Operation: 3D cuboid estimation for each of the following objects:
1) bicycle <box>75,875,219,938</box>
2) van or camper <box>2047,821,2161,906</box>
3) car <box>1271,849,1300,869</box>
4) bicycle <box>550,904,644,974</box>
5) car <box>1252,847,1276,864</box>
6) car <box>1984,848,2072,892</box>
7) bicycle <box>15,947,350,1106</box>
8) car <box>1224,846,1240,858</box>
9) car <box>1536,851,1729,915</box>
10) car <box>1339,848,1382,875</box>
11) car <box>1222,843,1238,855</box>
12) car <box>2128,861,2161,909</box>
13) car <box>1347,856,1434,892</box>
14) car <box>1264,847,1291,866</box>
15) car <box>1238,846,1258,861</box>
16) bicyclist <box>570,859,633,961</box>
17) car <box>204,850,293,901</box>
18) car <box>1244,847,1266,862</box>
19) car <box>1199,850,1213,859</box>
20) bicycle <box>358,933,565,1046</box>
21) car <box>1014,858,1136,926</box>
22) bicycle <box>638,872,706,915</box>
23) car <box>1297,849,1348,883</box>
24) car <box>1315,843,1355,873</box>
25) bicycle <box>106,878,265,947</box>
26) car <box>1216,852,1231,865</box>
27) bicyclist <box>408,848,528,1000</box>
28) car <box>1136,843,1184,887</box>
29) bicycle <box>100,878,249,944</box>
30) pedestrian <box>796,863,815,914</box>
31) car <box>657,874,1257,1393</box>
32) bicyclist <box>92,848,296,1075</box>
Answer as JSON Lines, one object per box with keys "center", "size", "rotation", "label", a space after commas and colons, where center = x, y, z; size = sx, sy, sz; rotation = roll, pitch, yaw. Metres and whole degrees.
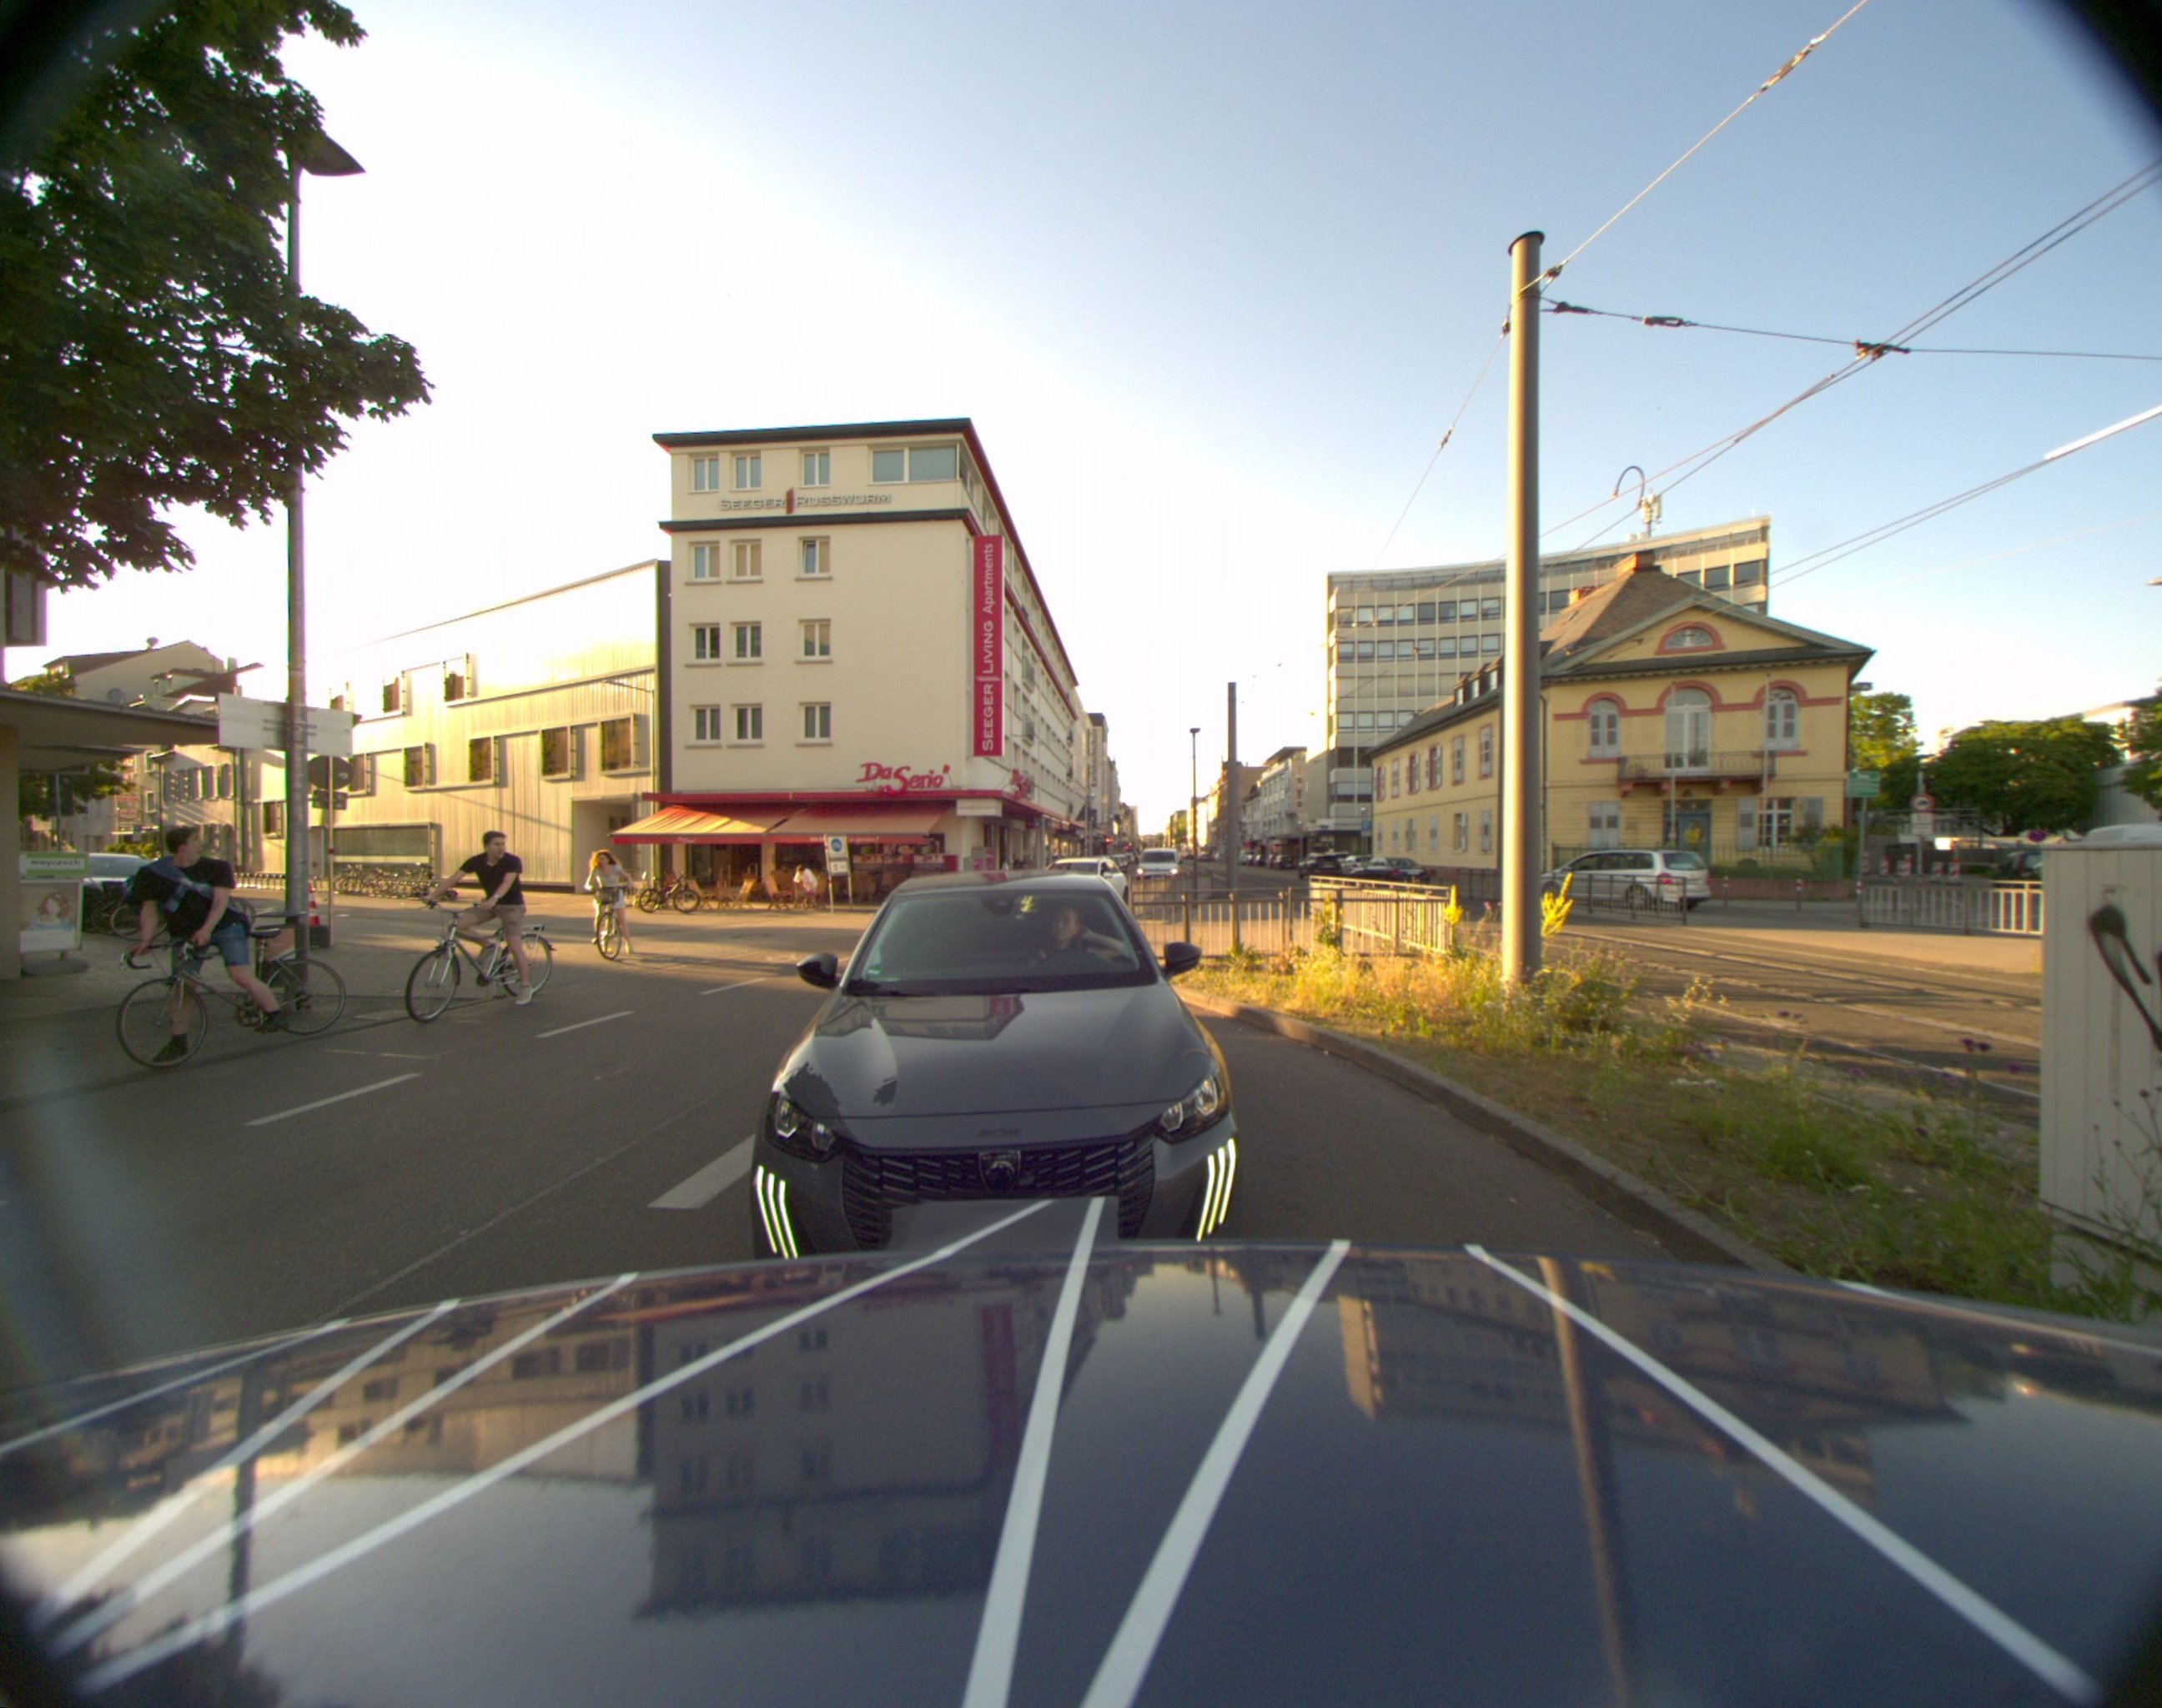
{"center": [-18.408, 1.013, 15.029], "size": [0.484, 1.179, 1.690], "rotation": [0, -2, 22], "label": "bicycle"}
{"center": [36.920, 0.321, 26.914], "size": [2.077, 2.758, 6.464], "rotation": [1, 1, 41], "label": "van or camper"}
{"center": [20.231, 0.446, 75.309], "size": [1.998, 1.890, 4.000], "rotation": [0, 0, 2], "label": "car"}
{"center": [-7.206, 1.238, 11.400], "size": [0.600, 0.820, 1.738], "rotation": [0, 1, -12], "label": "bicycle"}
{"center": [21.653, 0.146, 89.852], "size": [1.998, 1.936, 4.000], "rotation": [0, 0, 2], "label": "car"}
{"center": [43.084, 0.673, 34.658], "size": [1.713, 1.838, 4.031], "rotation": [2, 1, 40], "label": "car"}
{"center": [-7.127, 1.318, 6.184], "size": [0.675, 0.896, 1.690], "rotation": [0, 1, 2], "label": "bicycle"}
{"center": [24.454, -0.302, 123.045], "size": [1.998, 1.936, 4.000], "rotation": [0, 0, 2], "label": "car"}
{"center": [15.110, 0.717, 21.108], "size": [1.841, 1.589, 4.066], "rotation": [0, 0, -17], "label": "car"}
{"center": [18.243, 0.455, 49.804], "size": [1.736, 1.698, 3.440], "rotation": [0, 0, 4], "label": "car"}
{"center": [25.325, -0.858, 129.205], "size": [1.998, 2.002, 3.999], "rotation": [-2, 1, 1], "label": "car"}
{"center": [33.012, 0.946, 22.201], "size": [1.729, 1.421, 4.483], "rotation": [1, 1, 39], "label": "car"}
{"center": [13.302, 0.800, 32.986], "size": [2.017, 1.420, 4.656], "rotation": [0, 0, 2], "label": "car"}
{"center": [20.763, 0.225, 80.408], "size": [1.998, 1.936, 4.000], "rotation": [0, 0, 2], "label": "car"}
{"center": [22.803, -0.106, 103.645], "size": [1.998, 1.936, 4.000], "rotation": [0, 0, 2], "label": "car"}
{"center": [-7.221, 0.824, 11.474], "size": [0.588, 1.478, 0.717], "rotation": [0, 1, -12], "label": "bicyclist"}
{"center": [-34.914, 0.838, 31.855], "size": [3.988, 2.002, 2.004], "rotation": [0, 1, 35], "label": "car"}
{"center": [22.059, 0.057, 96.466], "size": [1.998, 1.936, 4.000], "rotation": [0, 0, 2], "label": "car"}
{"center": [21.813, 0.034, 132.928], "size": [1.848, 1.499, 4.000], "rotation": [0, 0, 1], "label": "car"}
{"center": [-6.210, 1.320, 7.768], "size": [0.615, 0.820, 1.805], "rotation": [0, 0, 1], "label": "bicycle"}
{"center": [0.004, 0.857, 19.290], "size": [1.813, 1.440, 4.569], "rotation": [0, 0, 17], "label": "car"}
{"center": [-11.565, 1.107, 21.505], "size": [1.632, 1.160, 0.600], "rotation": [0, 3, 10], "label": "bicycle"}
{"center": [14.667, 0.683, 46.305], "size": [1.998, 1.979, 4.120], "rotation": [0, 0, 3], "label": "car"}
{"center": [18.330, 0.258, 54.982], "size": [1.736, 1.700, 3.802], "rotation": [0, 7, 4], "label": "car"}
{"center": [-16.389, 1.037, 13.972], "size": [0.553, 1.179, 1.784], "rotation": [0, -2, 22], "label": "bicycle"}
{"center": [25.610, 0.835, 136.613], "size": [1.998, 2.363, 4.000], "rotation": [0, 1, 2], "label": "car"}
{"center": [-6.201, 0.680, 7.719], "size": [0.614, 1.478, 0.718], "rotation": [0, 1, 0], "label": "bicyclist"}
{"center": [3.568, 0.430, 34.266], "size": [1.998, 1.827, 4.878], "rotation": [0, 0, 6], "label": "car"}
{"center": [-17.297, 1.059, 14.549], "size": [0.538, 1.179, 1.721], "rotation": [0, -2, 22], "label": "bicycle"}
{"center": [-8.042, 0.991, 22.166], "size": [0.509, 1.441, 0.506], "rotation": [0, 1, -22], "label": "pedestrian"}
{"center": [-0.492, 0.954, 4.806], "size": [1.916, 1.495, 4.700], "rotation": [0, 0, -3], "label": "car"}
{"center": [-7.128, 0.811, 6.154], "size": [0.665, 1.717, 0.810], "rotation": [0, 1, 2], "label": "bicyclist"}
